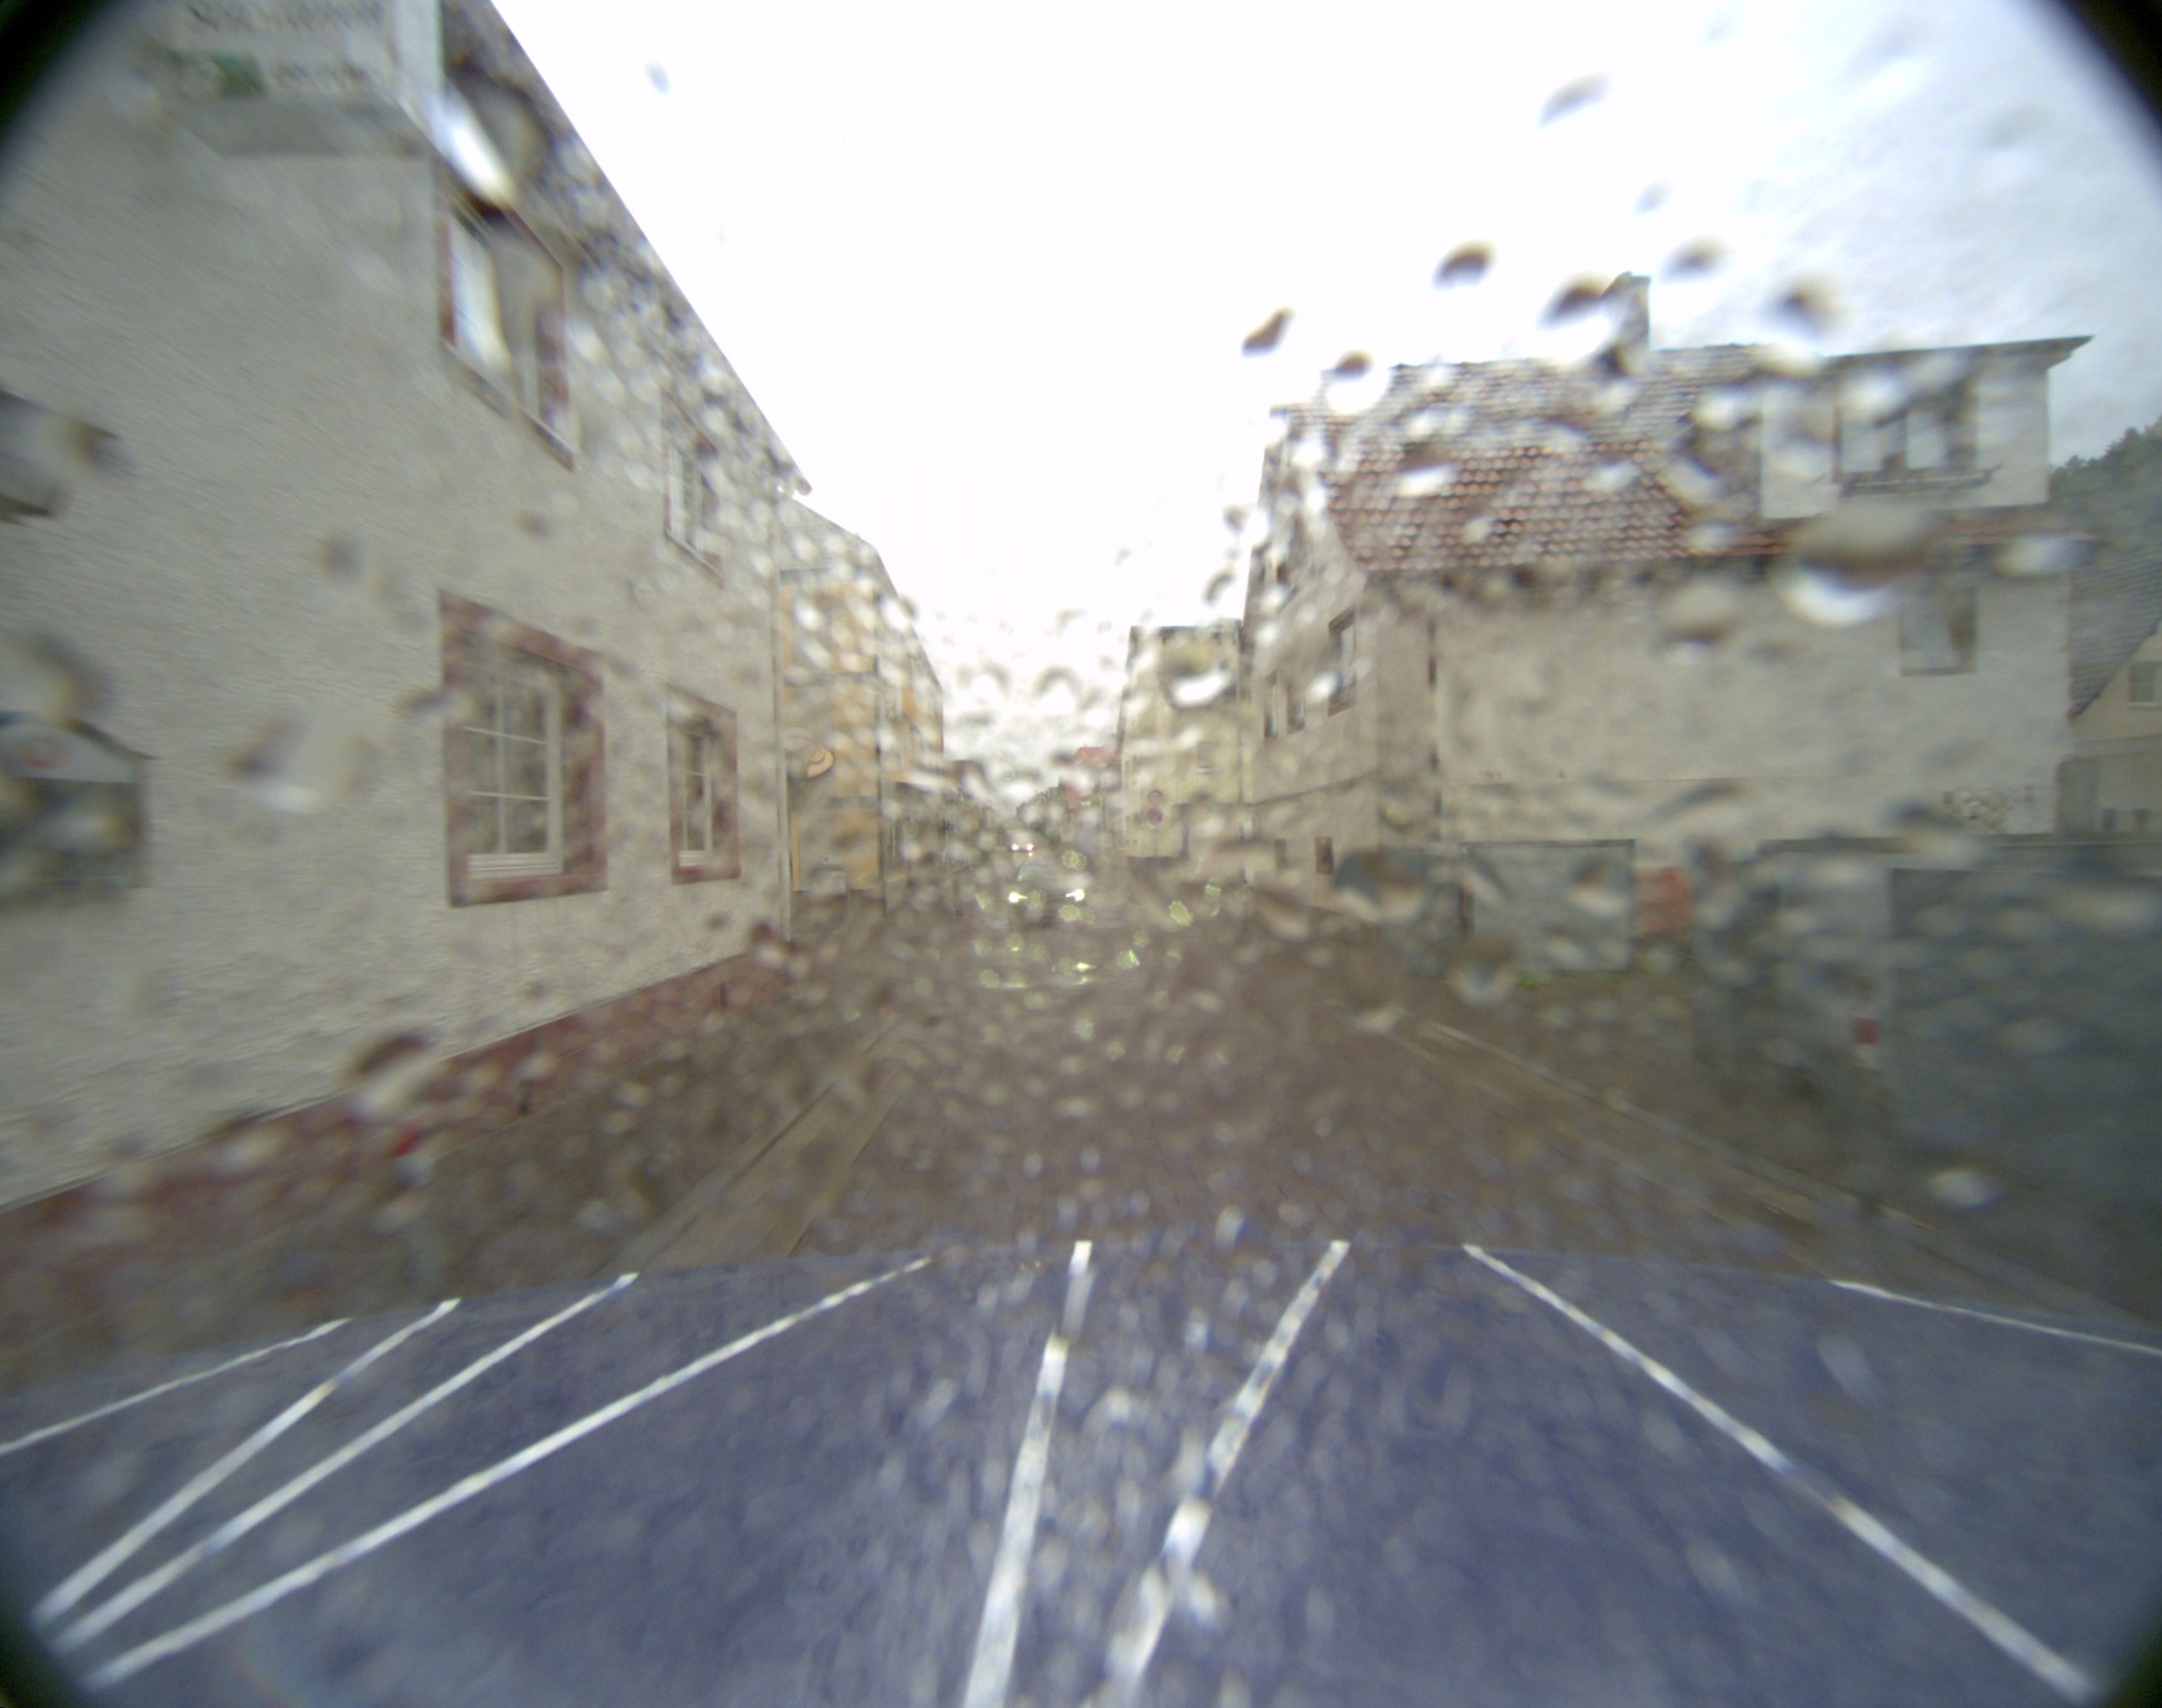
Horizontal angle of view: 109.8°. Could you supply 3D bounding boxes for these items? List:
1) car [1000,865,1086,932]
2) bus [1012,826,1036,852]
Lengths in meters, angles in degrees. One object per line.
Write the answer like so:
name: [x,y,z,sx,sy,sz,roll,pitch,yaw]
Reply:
car: [-0.807,0.979,18.180,1.801,1.341,3.738,-2,0,0]
bus: [-8.489,-2.210,111.859,2.894,3.590,11.968,-2,2,-7]
